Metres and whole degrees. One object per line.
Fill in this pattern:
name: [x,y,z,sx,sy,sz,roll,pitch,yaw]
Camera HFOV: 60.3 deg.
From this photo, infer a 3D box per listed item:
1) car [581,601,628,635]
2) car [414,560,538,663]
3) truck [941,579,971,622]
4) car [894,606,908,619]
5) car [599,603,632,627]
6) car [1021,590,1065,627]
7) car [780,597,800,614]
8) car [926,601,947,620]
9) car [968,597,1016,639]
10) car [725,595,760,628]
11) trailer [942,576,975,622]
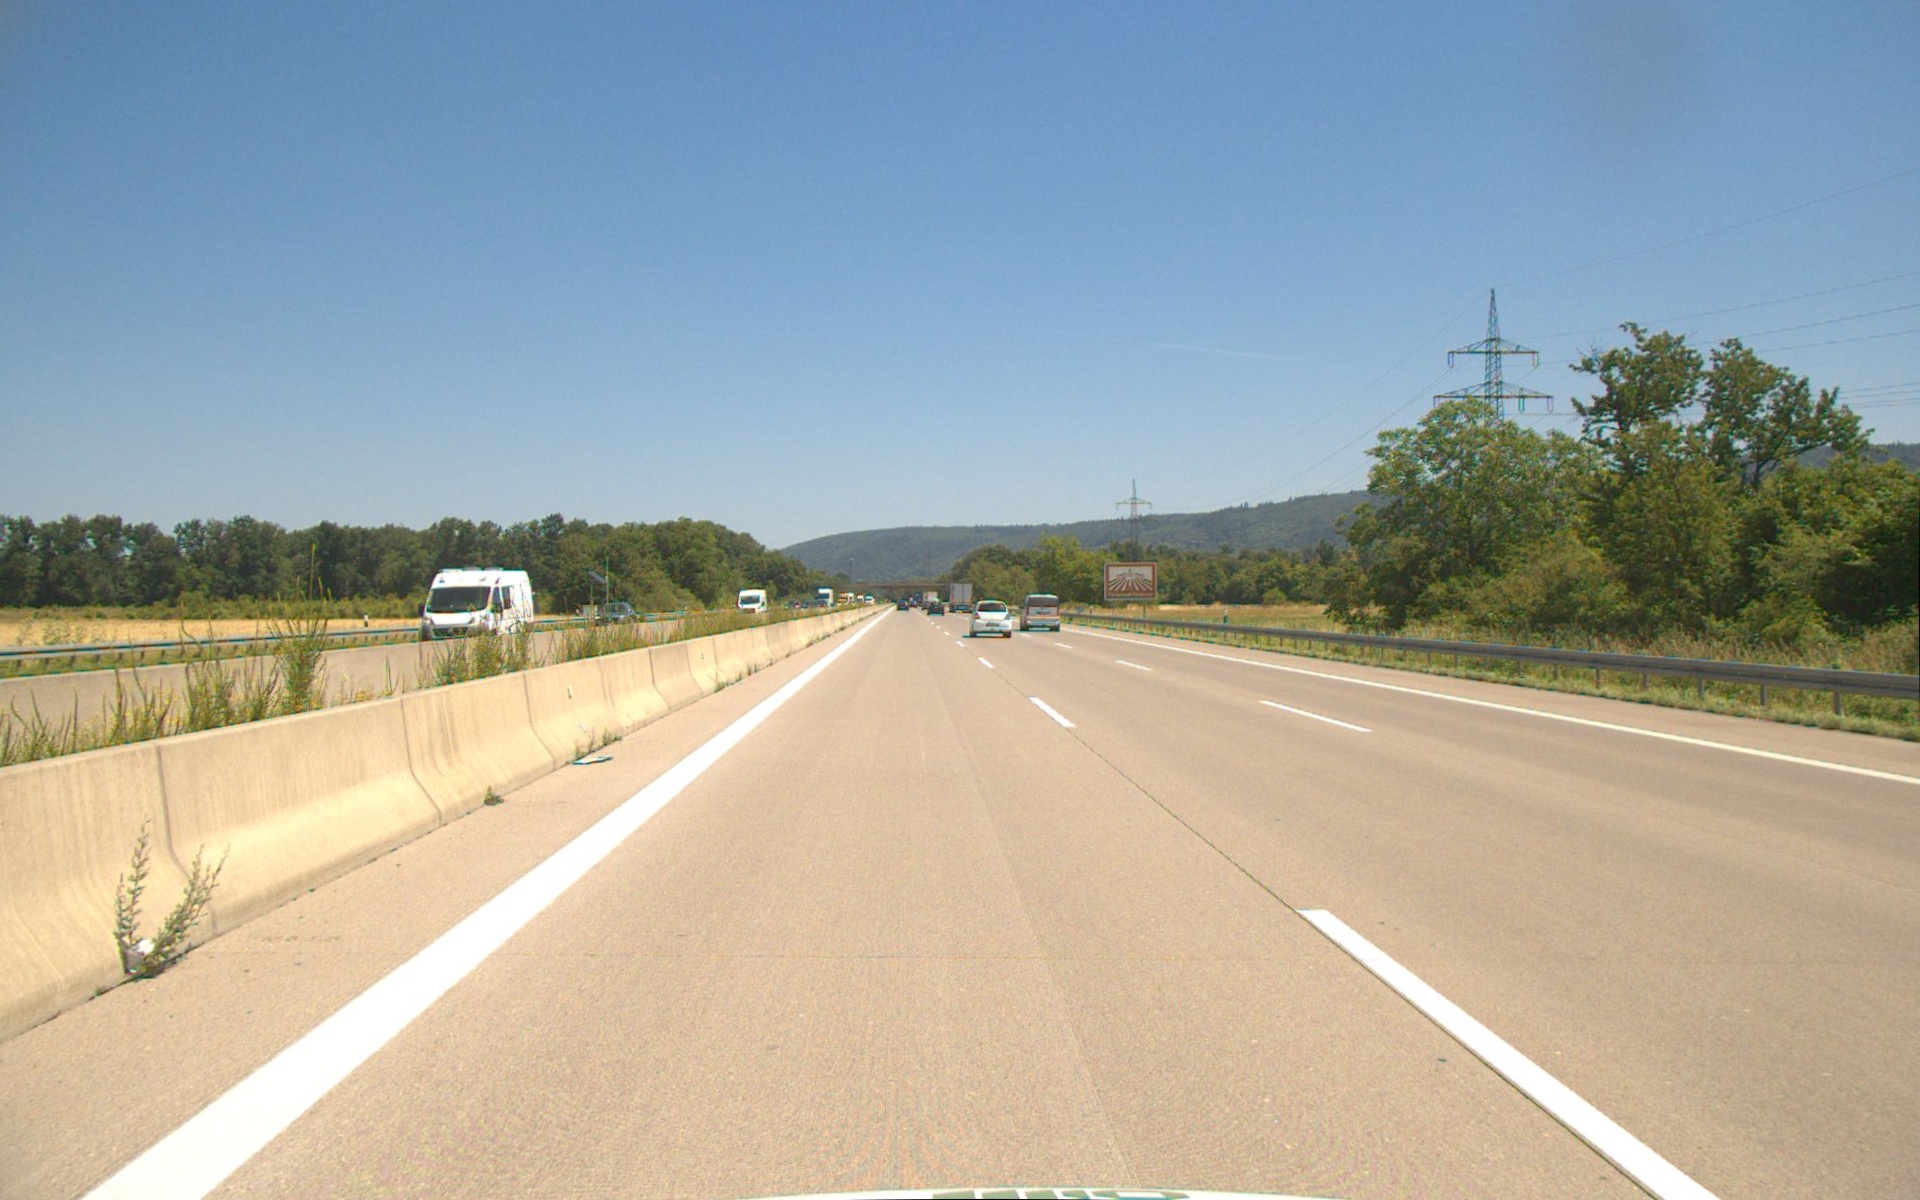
car: [-19.226,0.964,89.673,1.719,1.713,4.839,1,0,-3]
car: [-14.348,0.310,49.496,2.220,2.837,7.062,1,0,-6]
truck: [-0.556,0.038,230.603,3.647,5.913,7.049,1,0,-3]
car: [-8.410,1.776,235.605,1.890,1.825,3.998,1,0,-3]
car: [-27.604,1.169,132.524,1.954,1.814,3.997,1,0,-3]
car: [4.403,0.422,88.143,1.954,1.881,3.998,2,0,-3]
car: [-19.886,0.595,193.476,1.953,1.948,4.401,1,0,0]
car: [-2.460,1.088,173.744,1.954,1.881,3.997,3,0,-3]
car: [1.327,0.741,70.469,1.783,1.691,3.998,1,0,-3]
car: [-17.774,0.895,135.388,2.168,2.564,6.122,1,0,-2]
trailer: [-0.211,-0.140,224.165,3.647,5.913,12.153,1,0,-3]
